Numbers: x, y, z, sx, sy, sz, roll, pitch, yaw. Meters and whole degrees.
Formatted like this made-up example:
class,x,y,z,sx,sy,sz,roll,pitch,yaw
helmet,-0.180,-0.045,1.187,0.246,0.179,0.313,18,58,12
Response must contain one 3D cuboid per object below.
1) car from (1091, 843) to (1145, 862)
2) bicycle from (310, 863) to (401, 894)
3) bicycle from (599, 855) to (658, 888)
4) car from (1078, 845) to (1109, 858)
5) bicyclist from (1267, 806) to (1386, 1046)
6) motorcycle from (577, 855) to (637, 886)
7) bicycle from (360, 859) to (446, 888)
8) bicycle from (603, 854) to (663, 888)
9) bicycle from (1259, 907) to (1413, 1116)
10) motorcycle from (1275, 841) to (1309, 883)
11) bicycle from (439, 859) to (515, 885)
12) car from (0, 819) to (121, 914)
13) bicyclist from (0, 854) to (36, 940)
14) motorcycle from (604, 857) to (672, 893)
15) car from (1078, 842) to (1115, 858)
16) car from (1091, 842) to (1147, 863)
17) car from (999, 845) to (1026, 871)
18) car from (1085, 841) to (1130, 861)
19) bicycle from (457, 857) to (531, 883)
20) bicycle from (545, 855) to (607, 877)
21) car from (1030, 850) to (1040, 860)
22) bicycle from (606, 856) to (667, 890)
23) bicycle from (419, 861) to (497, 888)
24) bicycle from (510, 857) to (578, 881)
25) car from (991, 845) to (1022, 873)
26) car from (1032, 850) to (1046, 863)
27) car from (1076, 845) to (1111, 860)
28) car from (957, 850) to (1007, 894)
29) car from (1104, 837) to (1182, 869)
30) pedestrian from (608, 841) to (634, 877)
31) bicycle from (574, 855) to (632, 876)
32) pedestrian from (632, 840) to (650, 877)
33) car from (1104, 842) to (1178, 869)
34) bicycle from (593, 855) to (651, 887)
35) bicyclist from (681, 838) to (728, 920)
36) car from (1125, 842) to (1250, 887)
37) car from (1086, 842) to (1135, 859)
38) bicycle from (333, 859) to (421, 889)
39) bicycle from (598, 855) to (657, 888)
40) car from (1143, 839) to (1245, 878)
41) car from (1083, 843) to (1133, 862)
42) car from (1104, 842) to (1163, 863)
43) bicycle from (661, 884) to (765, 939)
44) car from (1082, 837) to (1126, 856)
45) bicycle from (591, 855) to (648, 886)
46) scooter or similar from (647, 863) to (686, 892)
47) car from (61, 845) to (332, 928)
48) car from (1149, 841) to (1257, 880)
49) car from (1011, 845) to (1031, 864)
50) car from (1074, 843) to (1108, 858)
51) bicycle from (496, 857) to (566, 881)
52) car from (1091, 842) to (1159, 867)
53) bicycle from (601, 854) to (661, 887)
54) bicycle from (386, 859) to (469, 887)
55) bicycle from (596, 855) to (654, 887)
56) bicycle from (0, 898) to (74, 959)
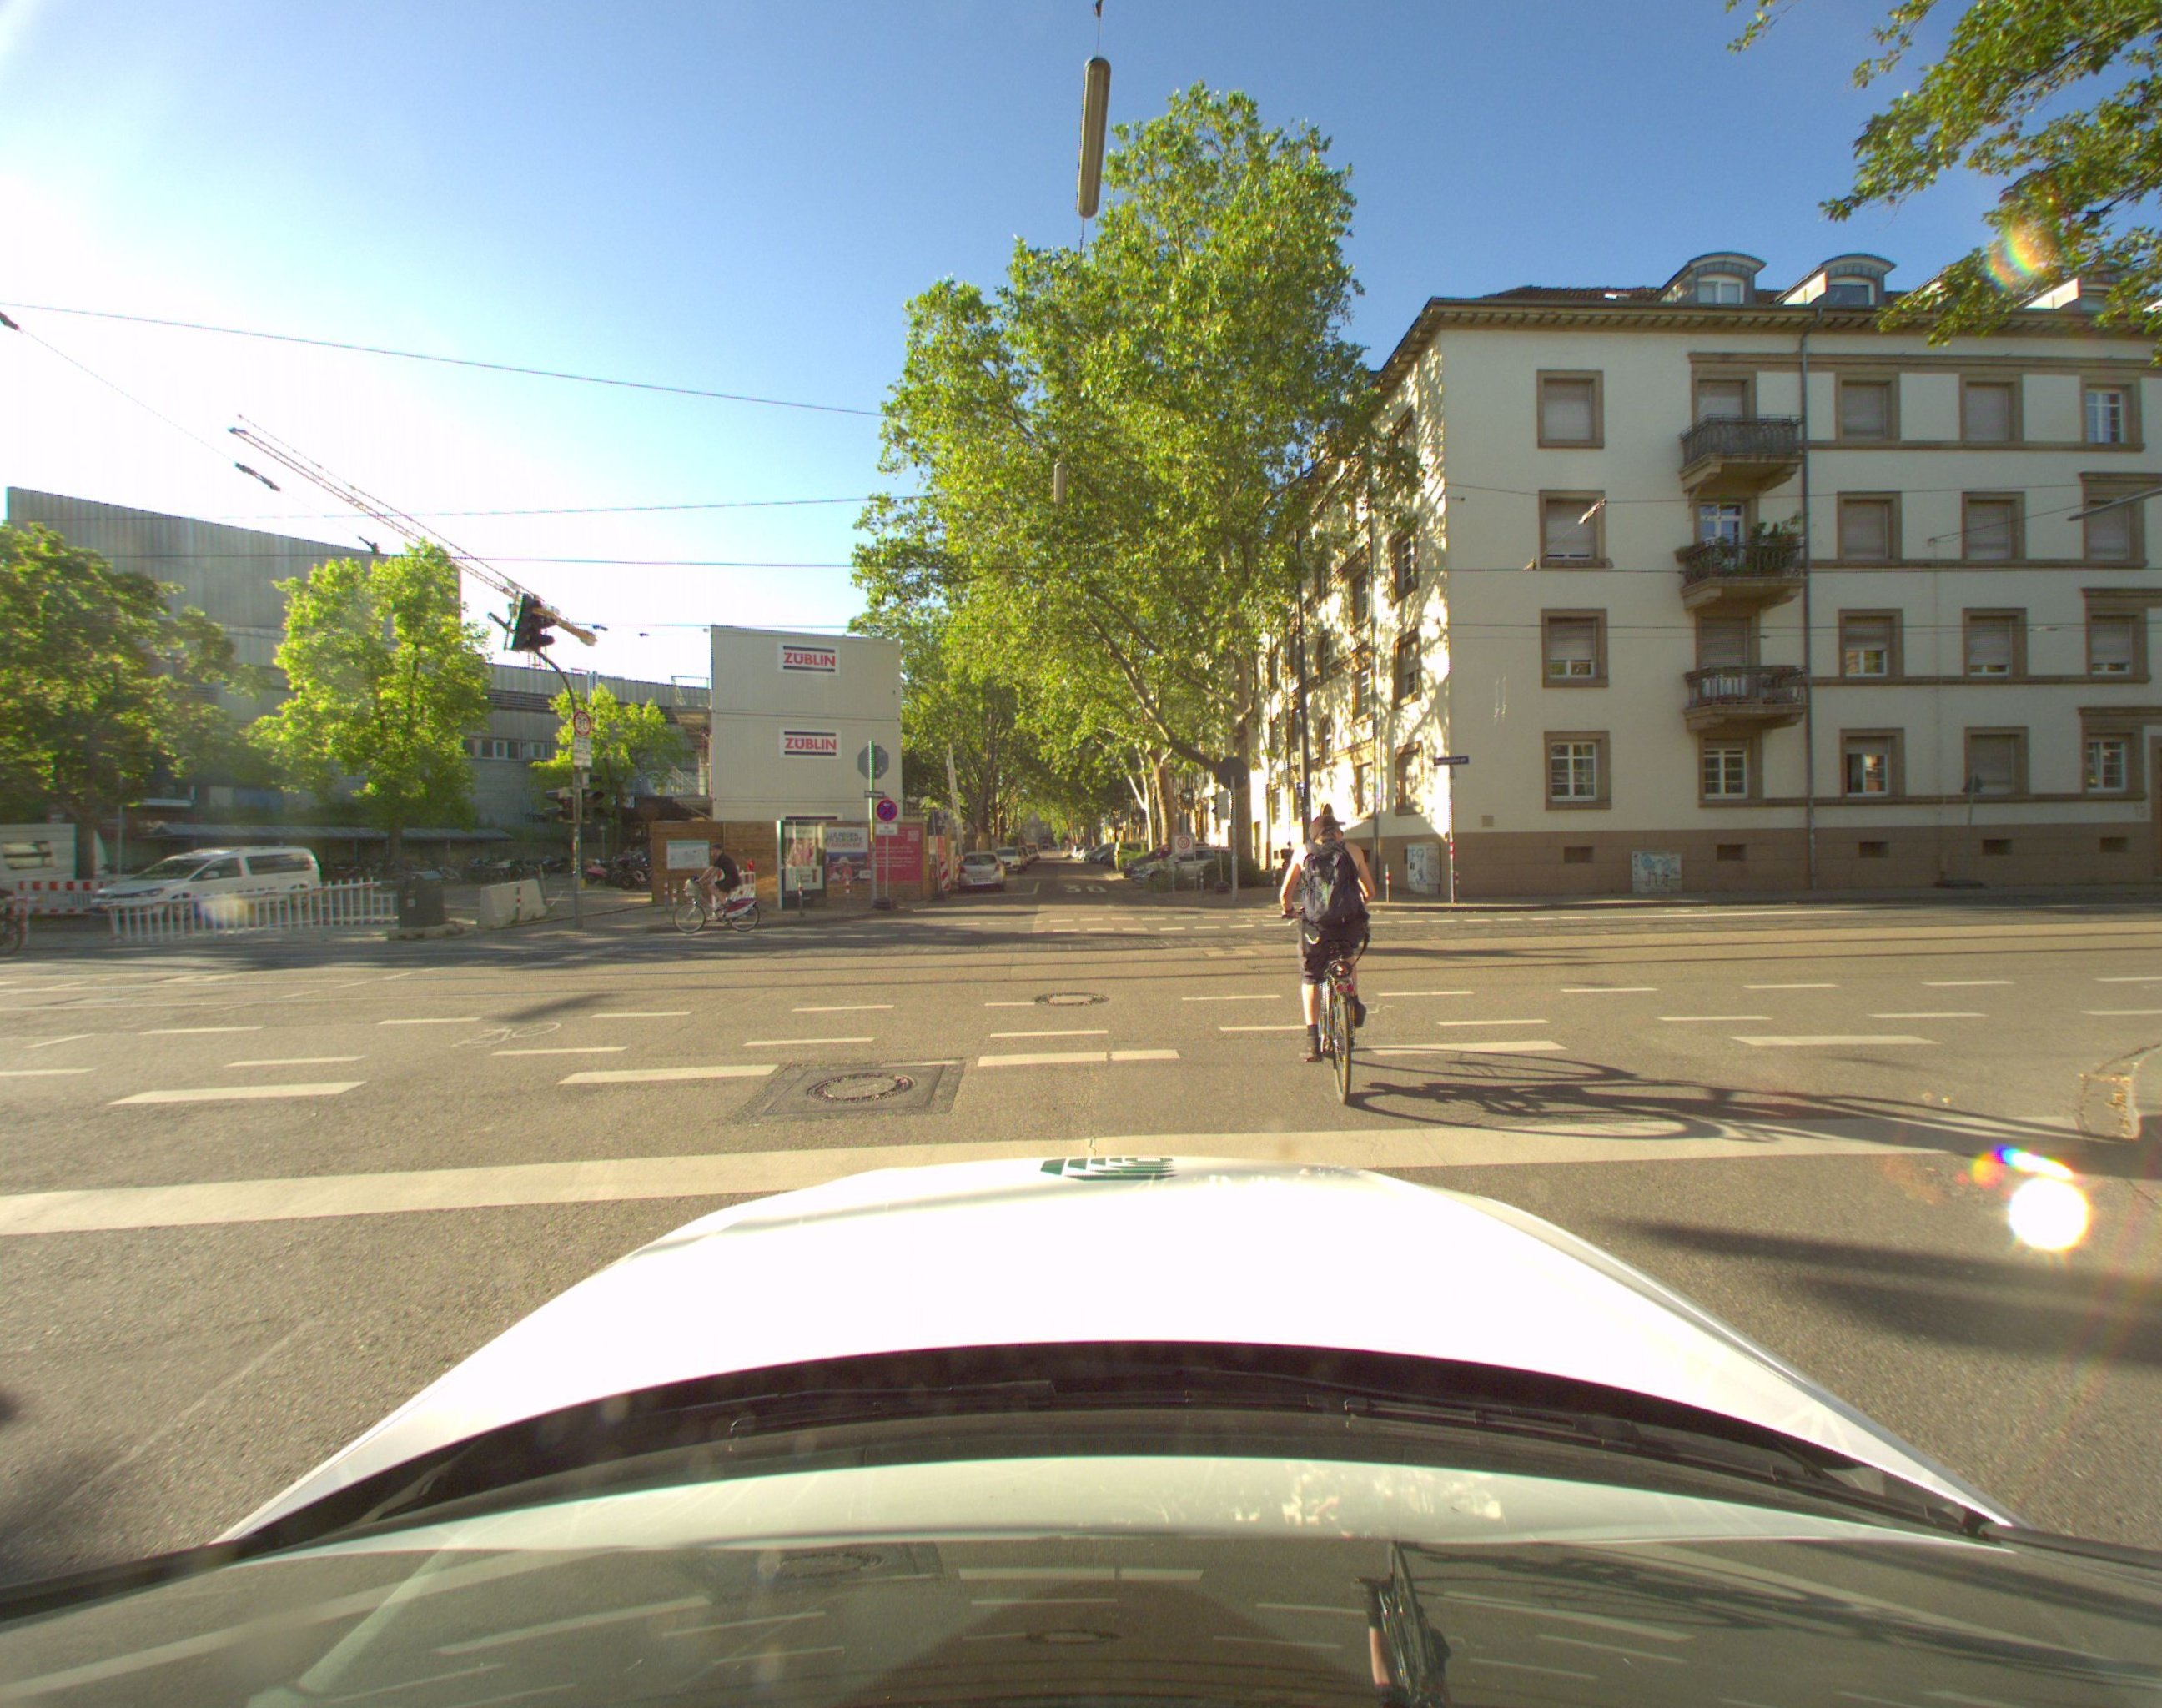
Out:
class,x,y,z,sx,sy,sz,roll,pitch,yaw
car,3.181,-0.141,69.842,4.452,1.571,1.726,-1,0,-4
bicycle,-28.734,0.962,32.277,3.063,1.147,0.823,-1,1,6
bicycle,-18.637,0.716,33.562,2.061,1.257,0.466,-2,1,-40
car,1.771,-0.398,119.271,4.452,1.898,1.726,-1,0,-4
bicyclist,1.635,0.452,5.520,0.672,1.513,0.670,0,0,8
motorcycle,-21.005,0.720,36.128,2.223,1.257,0.537,-2,2,-40
bicycle,-28.640,0.813,34.420,3.063,1.147,0.823,-1,1,6
bicycle,-18.012,0.671,32.775,2.061,1.257,0.466,-2,1,-40
bicycle,1.632,0.939,5.512,0.686,1.016,1.912,1,0,8
motorcycle,6.936,0.234,26.854,0.513,1.332,1.761,-1,1,-4
bicycle,-28.233,0.854,38.085,3.063,1.147,0.823,-1,1,6
car,-30.544,0.360,22.401,1.990,2.530,5.373,-1,4,-5
bicyclist,-21.046,0.826,15.505,1.094,1.640,0.895,-1,-1,-2
motorcycle,-17.106,0.799,31.508,2.223,1.257,0.537,-2,2,-40
car,1.891,-0.522,99.778,4.452,1.898,1.726,-1,0,-4
car,3.145,-0.136,67.364,4.452,1.571,1.726,-1,0,-4
car,-4.448,0.234,53.073,1.662,1.562,4.513,-1,1,-4
car,2.731,-0.328,84.232,4.452,1.898,1.726,-1,0,-4
bicycle,-28.091,0.758,38.971,3.063,1.147,0.823,-1,1,6
bicycle,-28.259,0.673,45.600,3.063,1.147,0.823,-1,1,6
car,-7.369,0.152,130.418,1.662,1.562,4.213,-1,1,-4
bicycle,-17.695,0.724,32.423,2.061,1.257,0.466,-2,1,-40
bicycle,-28.334,0.936,37.052,3.063,1.147,0.823,-1,1,6
bicycle,-27.715,0.765,42.070,3.063,1.147,0.823,-1,1,6
car,-4.295,0.266,47.373,1.662,1.562,3.994,-1,1,-4
car,-5.176,0.255,99.698,1.662,1.562,4.213,-1,1,-4
car,1.662,-0.239,107.202,4.452,1.898,1.726,-1,0,-4
car,-3.758,0.637,31.395,1.640,1.494,3.994,-3,1,-4
car,3.687,-0.073,48.823,4.453,1.836,1.726,-1,0,-4
pedestrian,-25.614,0.265,45.356,0.796,2.013,0.941,-1,1,8
bicycle,-28.463,0.680,48.541,3.063,1.147,0.823,-1,1,6
pedestrian,-24.506,0.254,45.343,0.805,2.013,1.022,-1,1,-26
car,3.705,0.075,50.842,4.452,1.571,1.726,-1,0,-4
bicycle,-19.678,0.719,34.941,2.061,1.257,0.537,-2,2,-40
bicyclist,-7.867,0.514,17.058,0.812,1.658,0.678,-1,0,-21
car,3.989,0.370,30.861,4.452,1.571,1.726,-1,0,-4
car,2.742,-0.325,76.909,4.452,1.571,1.726,-1,0,-4
bicycle,-28.749,0.811,33.272,3.063,1.147,0.823,-1,1,6
bicycle,-18.922,0.708,34.032,2.061,1.257,0.537,-2,2,-40
car,5.222,0.187,37.839,4.452,1.671,1.726,-1,0,-4
car,2.452,-0.153,74.574,4.452,1.571,1.726,-1,0,-4
car,4.132,-0.149,64.209,4.452,1.571,1.726,-1,0,-4
bicycle,-7.689,1.180,17.125,1.922,1.018,0.678,-1,0,-21
car,2.438,-0.823,86.984,4.452,1.898,1.726,-1,0,-4
bicycle,-20.036,0.713,35.406,2.061,1.257,0.537,-2,2,-40
scooter or similar,-15.694,0.875,30.839,0.381,1.020,1.494,-1,1,16
car,-24.480,0.805,22.916,1.996,1.892,4.952,0,3,3
car,5.311,0.269,35.756,4.452,1.571,1.726,-1,0,-4
car,-5.129,0.021,69.802,1.662,1.562,4.610,-1,1,-4
car,1.300,-0.431,110.231,4.452,1.898,1.726,-1,0,-4
bicycle,-27.768,0.763,41.133,3.063,1.147,0.823,-1,1,6
car,2.930,-0.010,54.744,4.452,1.571,1.726,-1,0,-4
bicycle,-18.313,0.671,33.172,2.061,1.257,0.466,-2,1,-40
bicycle,-28.458,0.815,35.485,3.063,1.147,0.823,-1,1,6
bicycle,-19.297,0.709,34.483,2.061,1.257,0.537,-2,2,-40
bicycle,-20.980,1.424,15.498,2.416,1.093,0.895,-1,-1,-3
